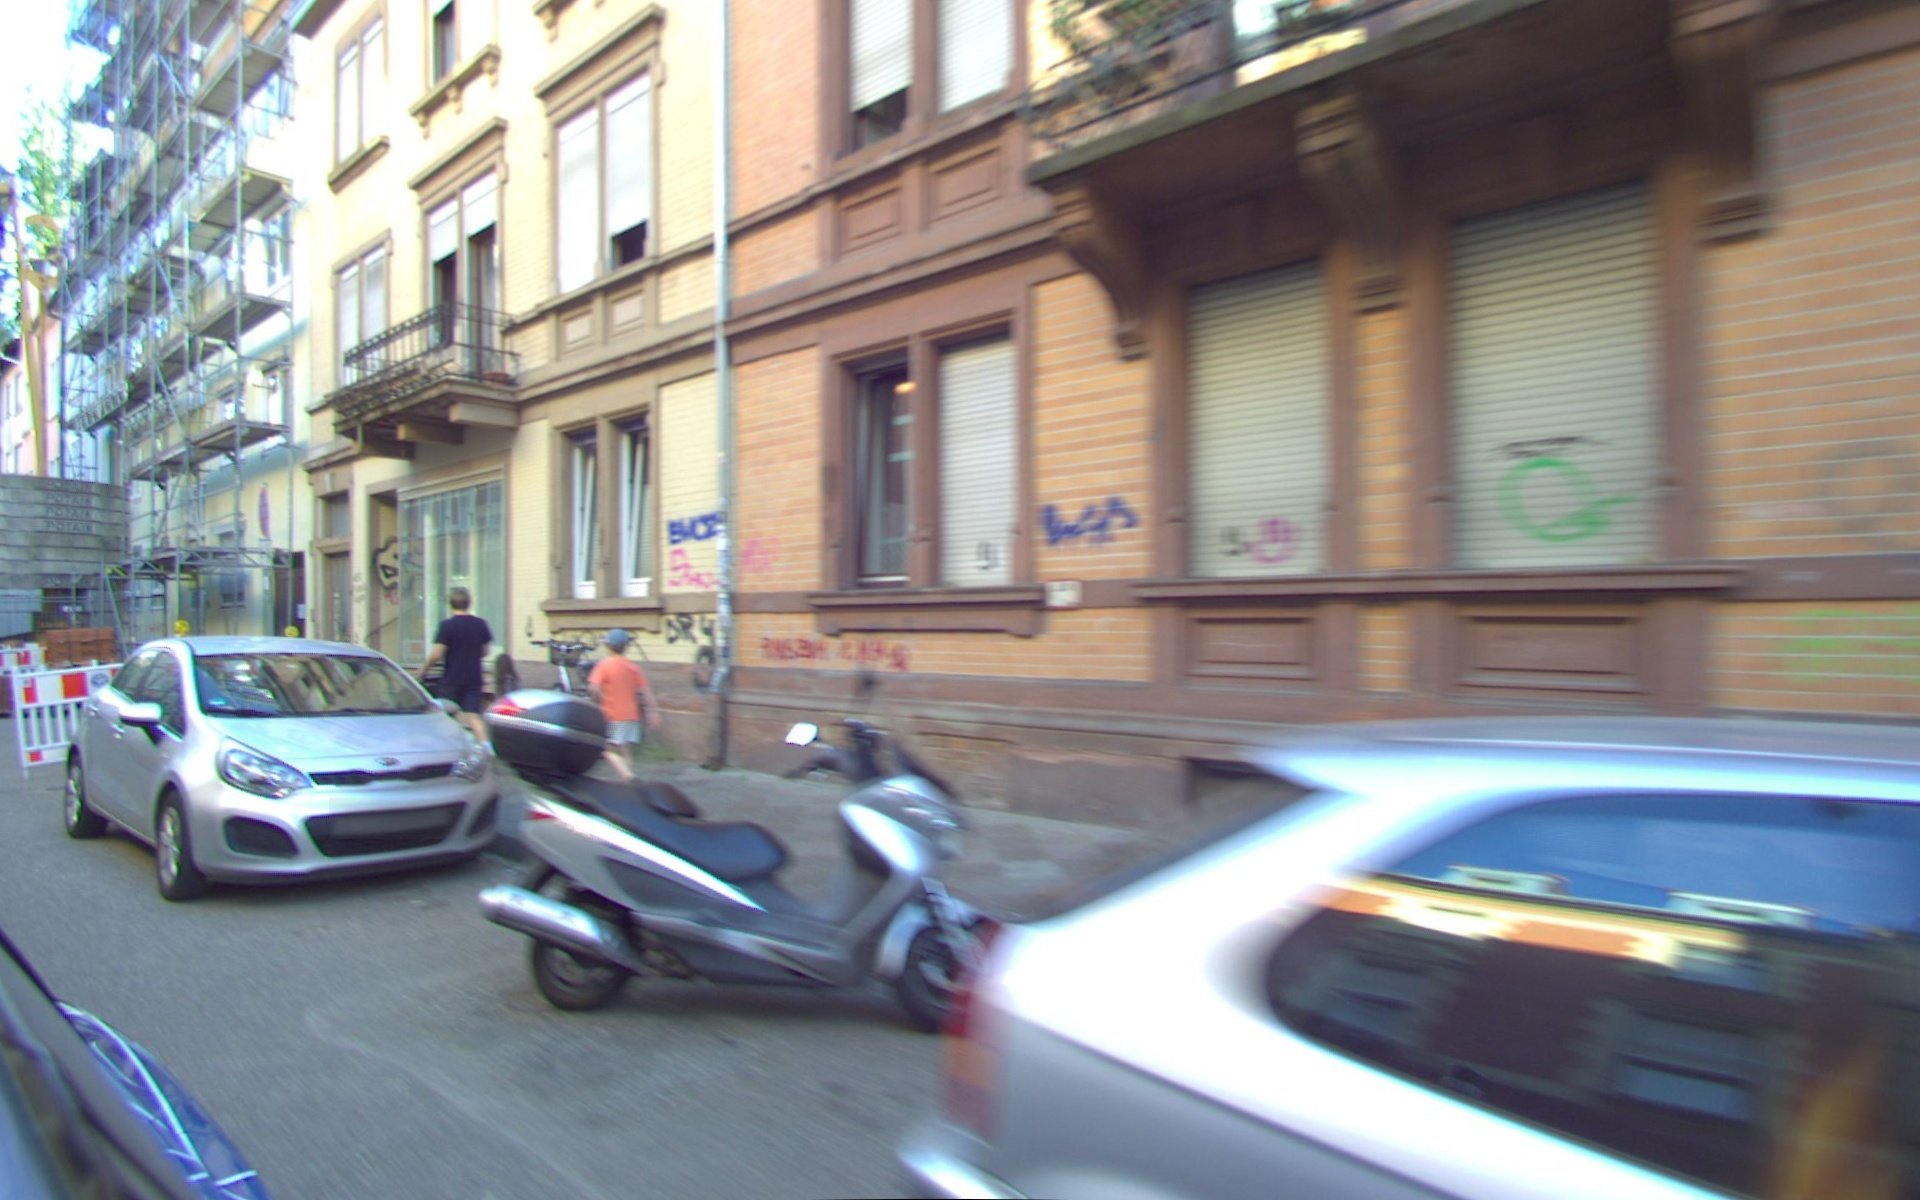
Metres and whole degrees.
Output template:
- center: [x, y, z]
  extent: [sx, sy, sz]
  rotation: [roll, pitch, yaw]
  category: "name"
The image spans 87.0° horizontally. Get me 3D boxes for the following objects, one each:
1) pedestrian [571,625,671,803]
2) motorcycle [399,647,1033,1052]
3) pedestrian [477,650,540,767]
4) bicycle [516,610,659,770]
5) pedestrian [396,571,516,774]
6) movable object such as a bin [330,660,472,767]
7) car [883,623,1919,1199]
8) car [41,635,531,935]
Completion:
- center: [-2.630, 0.851, 7.843]
  extent: [0.646, 1.293, 0.445]
  rotation: [-1, 0, 41]
  category: "pedestrian"
- center: [-0.848, 0.894, 3.960]
  extent: [2.165, 1.370, 0.844]
  rotation: [1, -3, -2]
  category: "motorcycle"
- center: [-4.455, 1.053, 9.990]
  extent: [0.431, 1.095, 0.390]
  rotation: [-2, -1, 35]
  category: "pedestrian"
- center: [-3.721, 0.841, 10.047]
  extent: [1.711, 1.436, 0.519]
  rotation: [-1, 2, 42]
  category: "bicycle"
- center: [-4.697, 0.648, 9.433]
  extent: [0.886, 1.778, 0.679]
  rotation: [-2, -2, 37]
  category: "pedestrian"
- center: [-5.602, 1.093, 10.119]
  extent: [1.413, 0.939, 0.754]
  rotation: [-2, -2, 38]
  category: "movable object such as a bin"
- center: [1.959, 0.738, 0.885]
  extent: [3.998, 1.323, 1.681]
  rotation: [-1, 2, 41]
  category: "car"
- center: [-4.674, 0.956, 6.793]
  extent: [3.997, 1.430, 1.657]
  rotation: [-2, -3, 40]
  category: "car"
